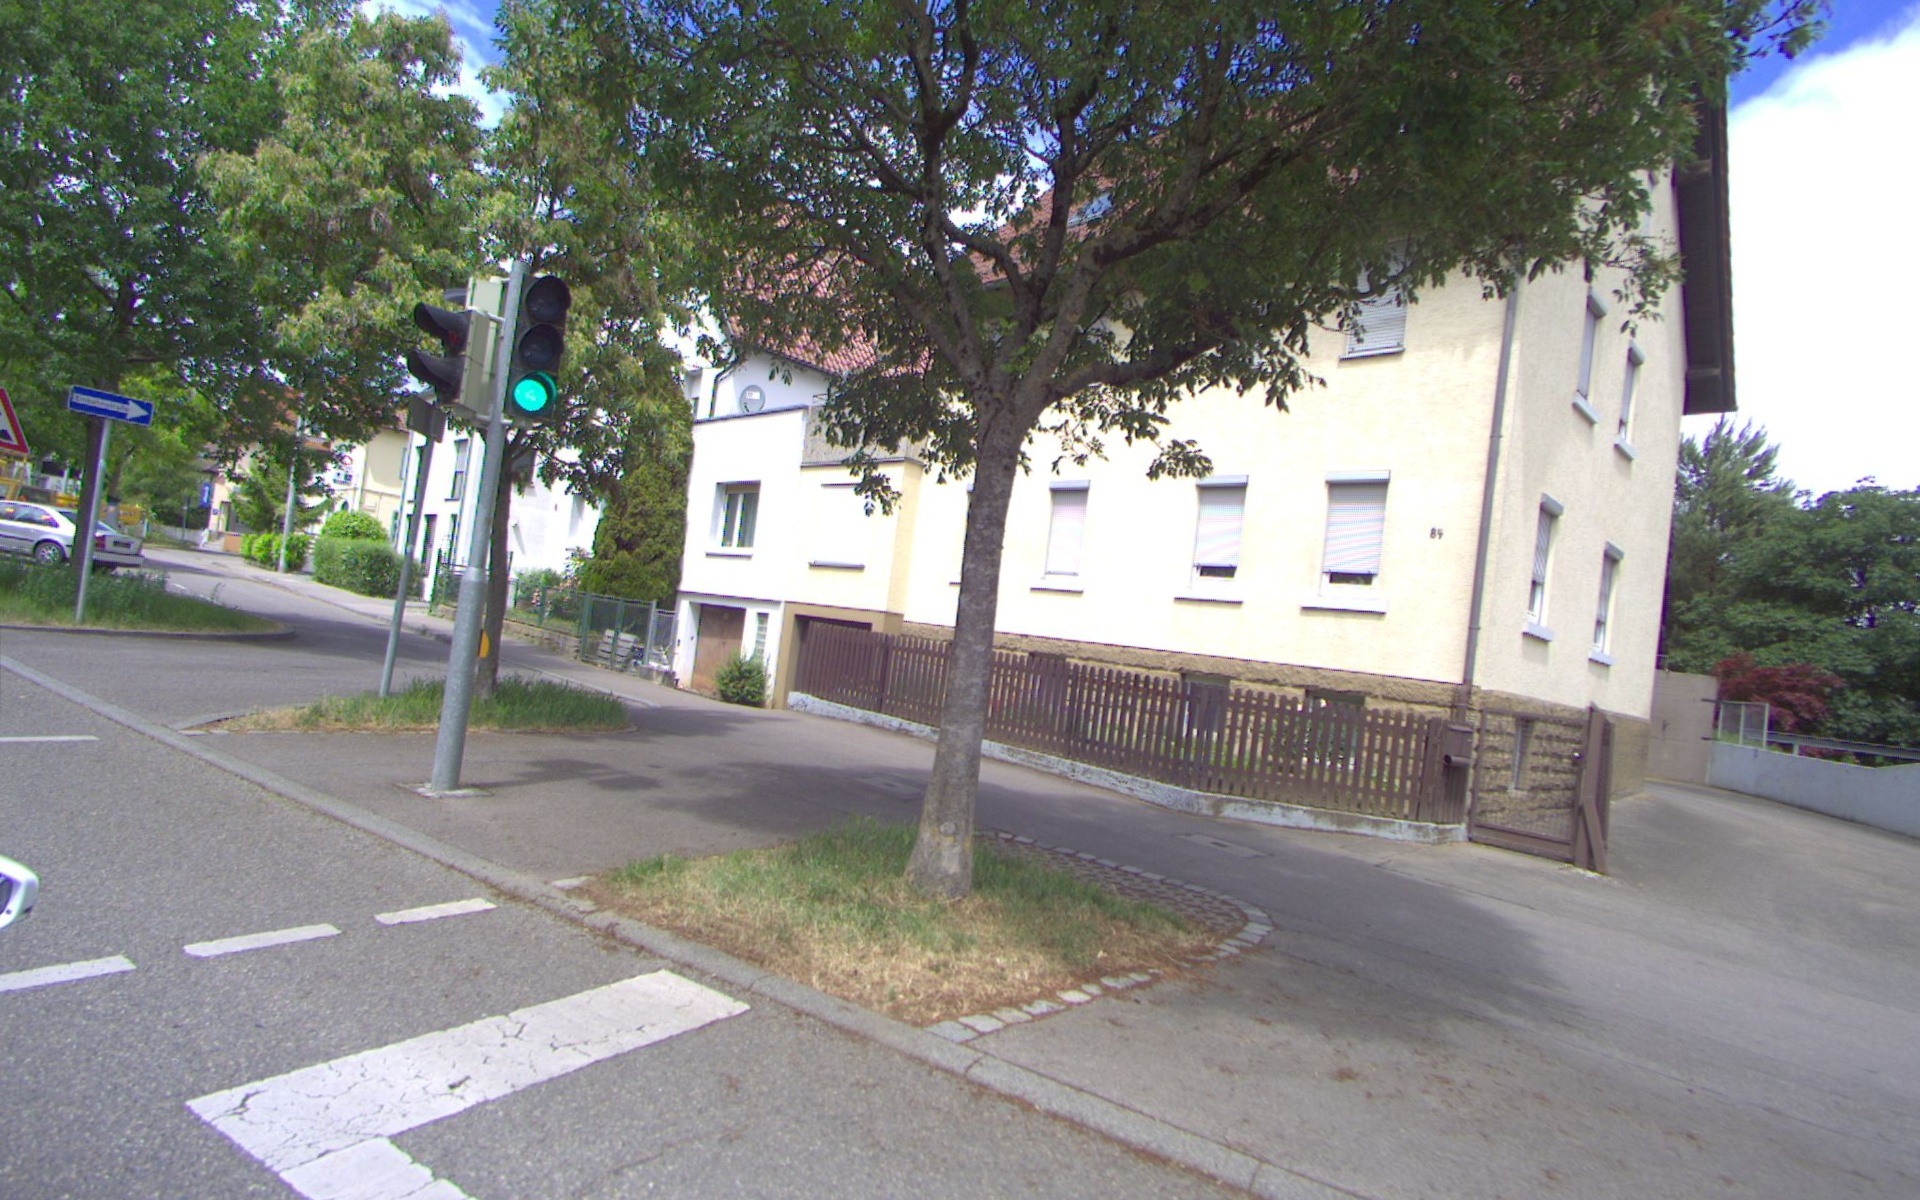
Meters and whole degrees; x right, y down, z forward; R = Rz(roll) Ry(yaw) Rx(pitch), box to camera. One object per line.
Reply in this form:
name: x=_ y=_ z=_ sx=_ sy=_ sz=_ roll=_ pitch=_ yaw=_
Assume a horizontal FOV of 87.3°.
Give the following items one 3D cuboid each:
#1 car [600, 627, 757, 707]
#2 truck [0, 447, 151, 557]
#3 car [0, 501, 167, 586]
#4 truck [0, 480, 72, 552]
car: x=-5.886 y=1.349 z=20.792 sx=1.459 sy=1.135 sz=3.828 roll=13 pitch=-6 yaw=-41
truck: x=-34.134 y=-3.770 z=36.473 sx=6.596 sy=3.038 sz=2.771 roll=10 pitch=-4 yaw=-9
car: x=-22.294 y=-1.507 z=24.226 sx=4.610 sy=1.467 sz=1.768 roll=10 pitch=-3 yaw=-6
truck: x=-33.725 y=-3.200 z=33.634 sx=5.587 sy=2.033 sz=1.999 roll=10 pitch=-5 yaw=-11
